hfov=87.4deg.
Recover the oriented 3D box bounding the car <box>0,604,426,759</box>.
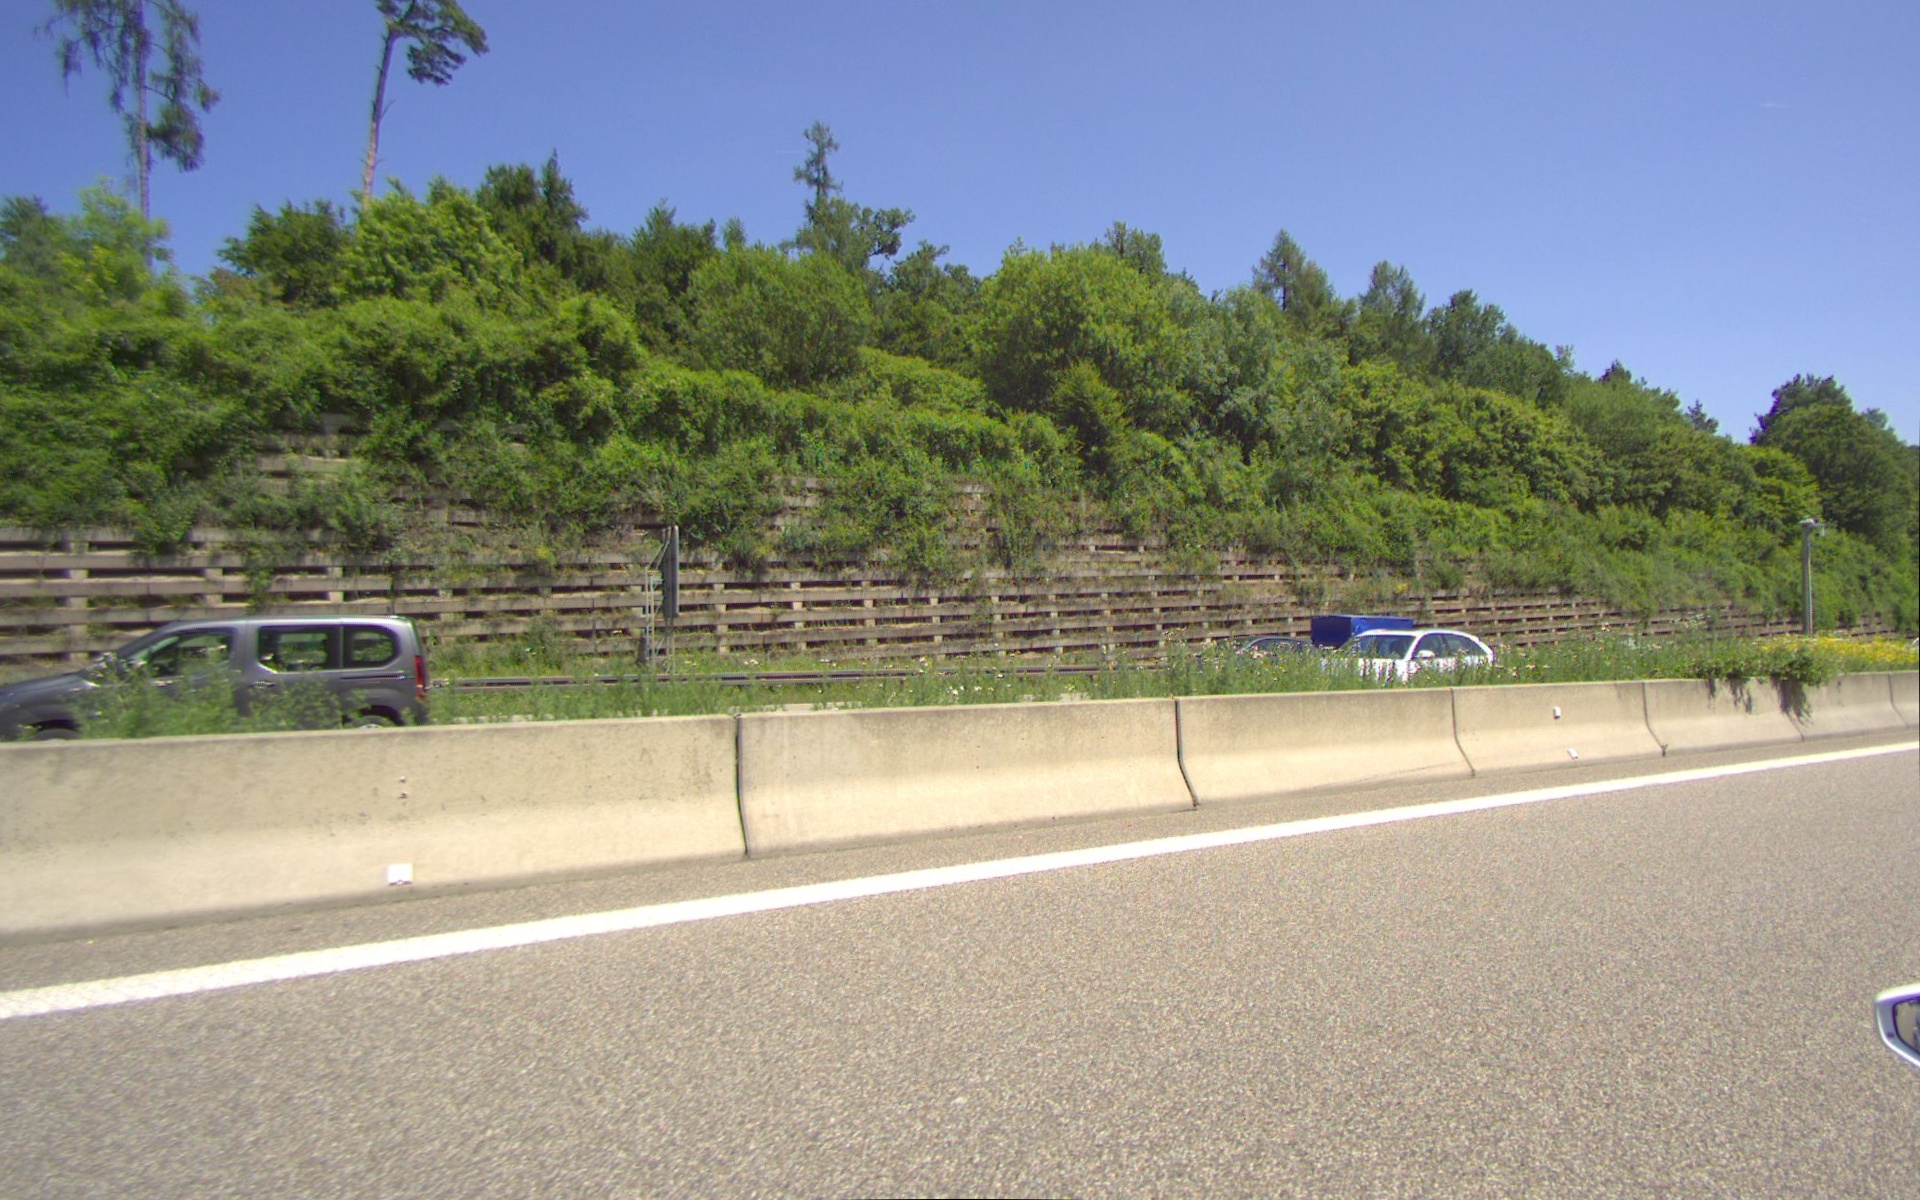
[{"bbox_3d":[-8.521,0.853,11.575,4.152,1.542,1.780,1,-2,-29],"label":"car"}]

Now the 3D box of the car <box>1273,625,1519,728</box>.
[{"bbox_3d":[7.392,1.195,16.931,4.156,1.542,1.778,1,-2,-32],"label":"car"}]

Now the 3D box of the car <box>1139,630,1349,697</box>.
[{"bbox_3d":[7.295,1.552,25.660,5.409,1.542,1.929,1,-2,-29],"label":"car"}]

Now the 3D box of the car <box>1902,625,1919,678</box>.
[{"bbox_3d":[30.287,1.543,30.218,4.155,1.542,1.779,1,-2,-31],"label":"car"}]

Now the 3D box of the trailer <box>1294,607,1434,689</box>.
[{"bbox_3d":[11.202,1.303,27.867,3.452,2.145,1.887,1,-2,-29],"label":"trailer"}]

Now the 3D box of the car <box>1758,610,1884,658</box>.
[{"bbox_3d":[29.085,1.140,33.911,4.152,1.542,1.929,1,-2,-29],"label":"car"}]
